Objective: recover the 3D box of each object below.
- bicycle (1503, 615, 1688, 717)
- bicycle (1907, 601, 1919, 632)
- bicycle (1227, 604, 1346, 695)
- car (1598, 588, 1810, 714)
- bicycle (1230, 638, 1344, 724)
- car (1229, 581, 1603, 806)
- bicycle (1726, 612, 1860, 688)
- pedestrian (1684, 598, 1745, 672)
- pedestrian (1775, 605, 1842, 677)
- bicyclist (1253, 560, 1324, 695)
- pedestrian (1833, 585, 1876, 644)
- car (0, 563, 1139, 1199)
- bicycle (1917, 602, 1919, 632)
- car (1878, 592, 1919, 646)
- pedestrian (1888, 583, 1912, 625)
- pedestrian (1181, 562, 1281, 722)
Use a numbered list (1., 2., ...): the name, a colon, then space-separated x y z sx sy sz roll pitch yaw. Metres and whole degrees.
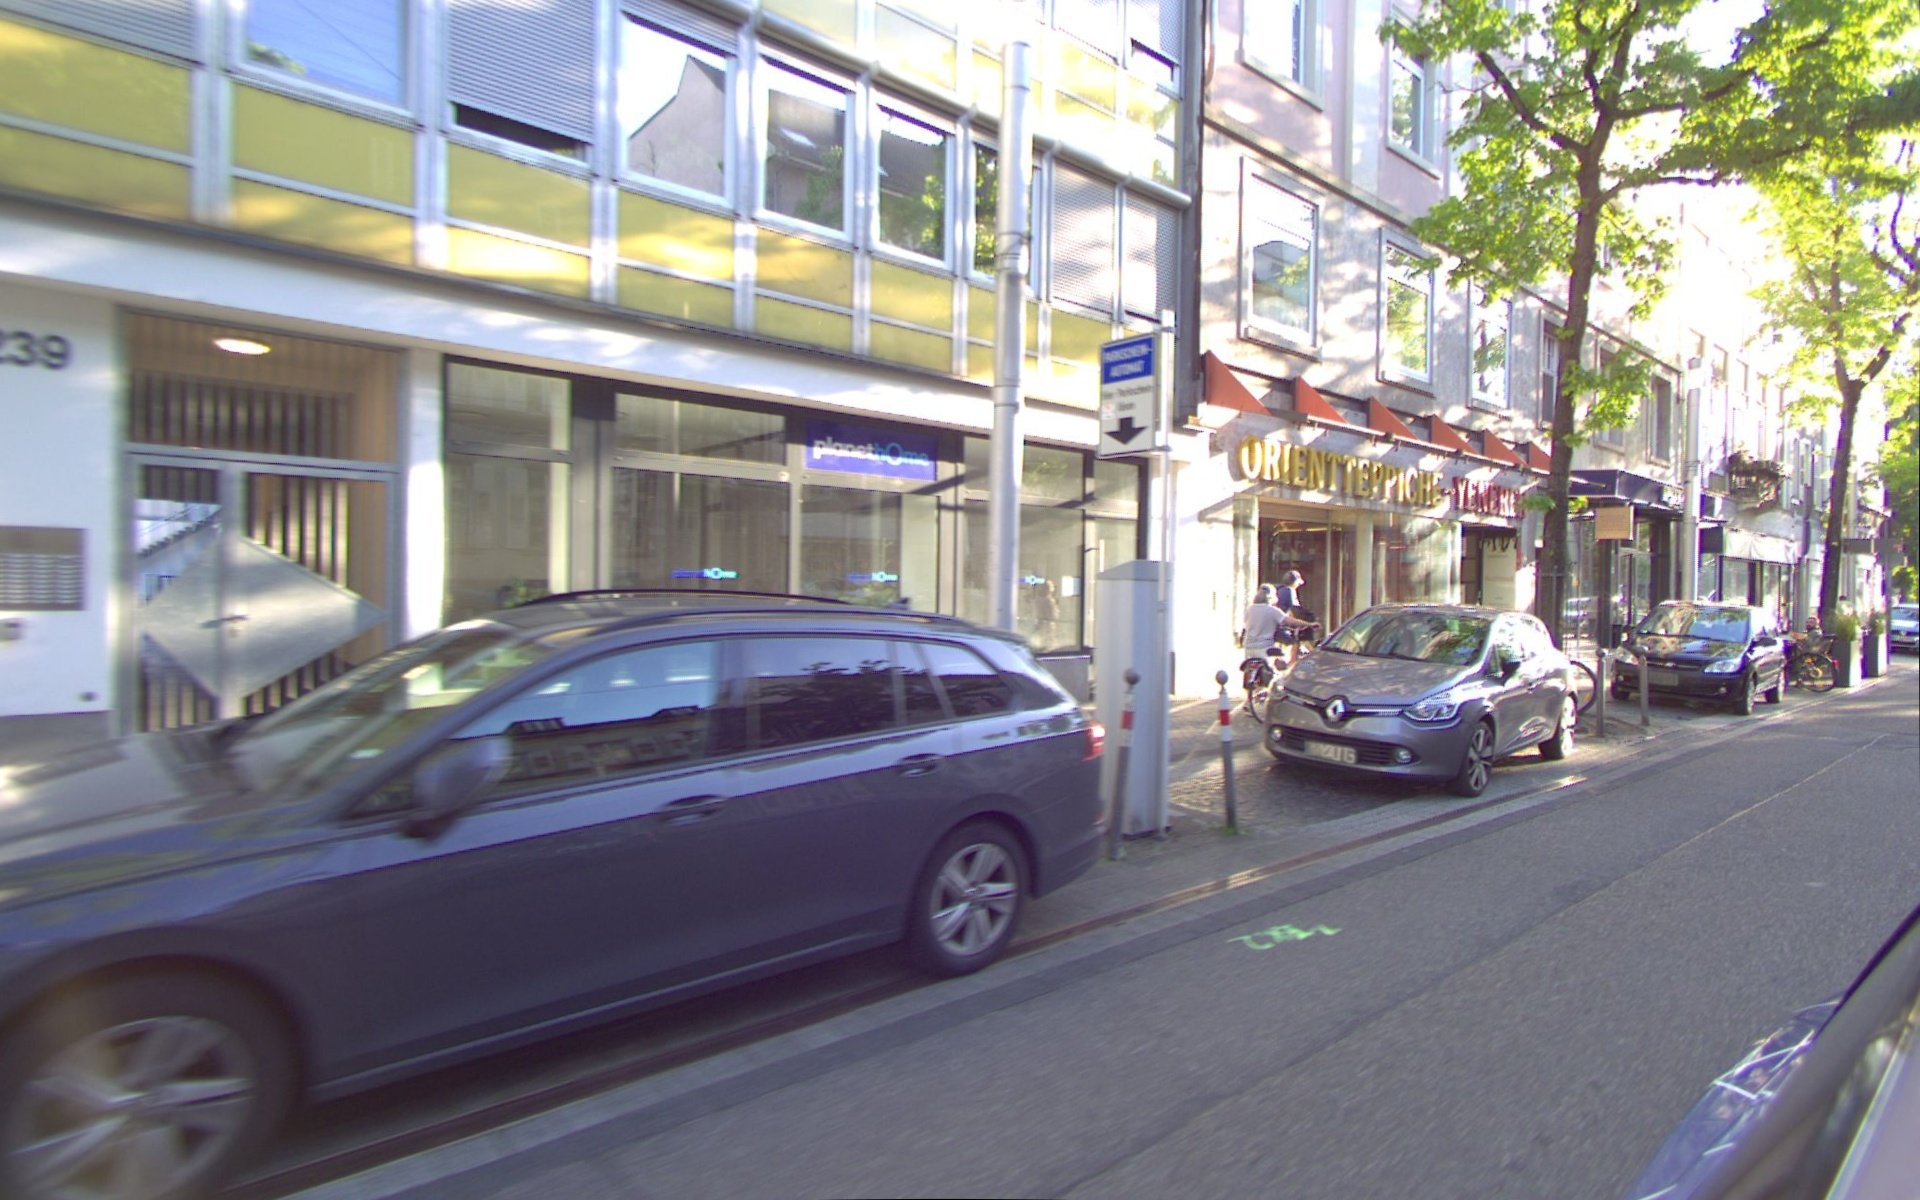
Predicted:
1. bicycle: 7.888 0.781 12.611 1.853 1.087 0.702 2 2 41
2. bicycle: 36.501 0.621 37.607 0.552 1.169 1.871 -1 1 -38
3. bicycle: 4.309 0.614 13.289 1.829 1.087 0.648 0 2 -42
4. car: 11.090 0.638 15.007 3.593 1.475 1.804 -1 6 -43
5. bicycle: 3.658 0.874 11.267 1.580 0.817 0.467 0 2 -42
6. car: 4.303 0.635 9.249 1.816 1.504 3.936 5 4 44
7. bicycle: 14.508 0.843 17.679 0.535 1.152 1.736 0 3 -19
8. pedestrian: 14.873 0.667 19.959 0.699 1.404 0.744 1 1 12
9. pedestrian: 15.791 0.754 18.835 0.575 1.281 0.820 0 1 -35
10. bicyclist: 4.308 0.340 13.279 0.589 1.705 0.640 0 1 -42
11. pedestrian: 25.926 0.415 29.331 0.742 1.663 0.805 0 1 -40
12. car: -1.357 0.655 4.024 4.032 1.470 1.876 0 3 -39
13. bicycle: 37.959 0.665 38.765 0.341 1.169 1.871 0 1 -38
14. car: 29.290 0.574 30.498 4.344 1.457 1.780 -1 4 -40
15. pedestrian: 46.588 0.199 50.179 0.843 2.039 0.831 0 1 42
16. pedestrian: 2.958 0.429 11.045 0.688 1.666 0.798 0 1 -42
